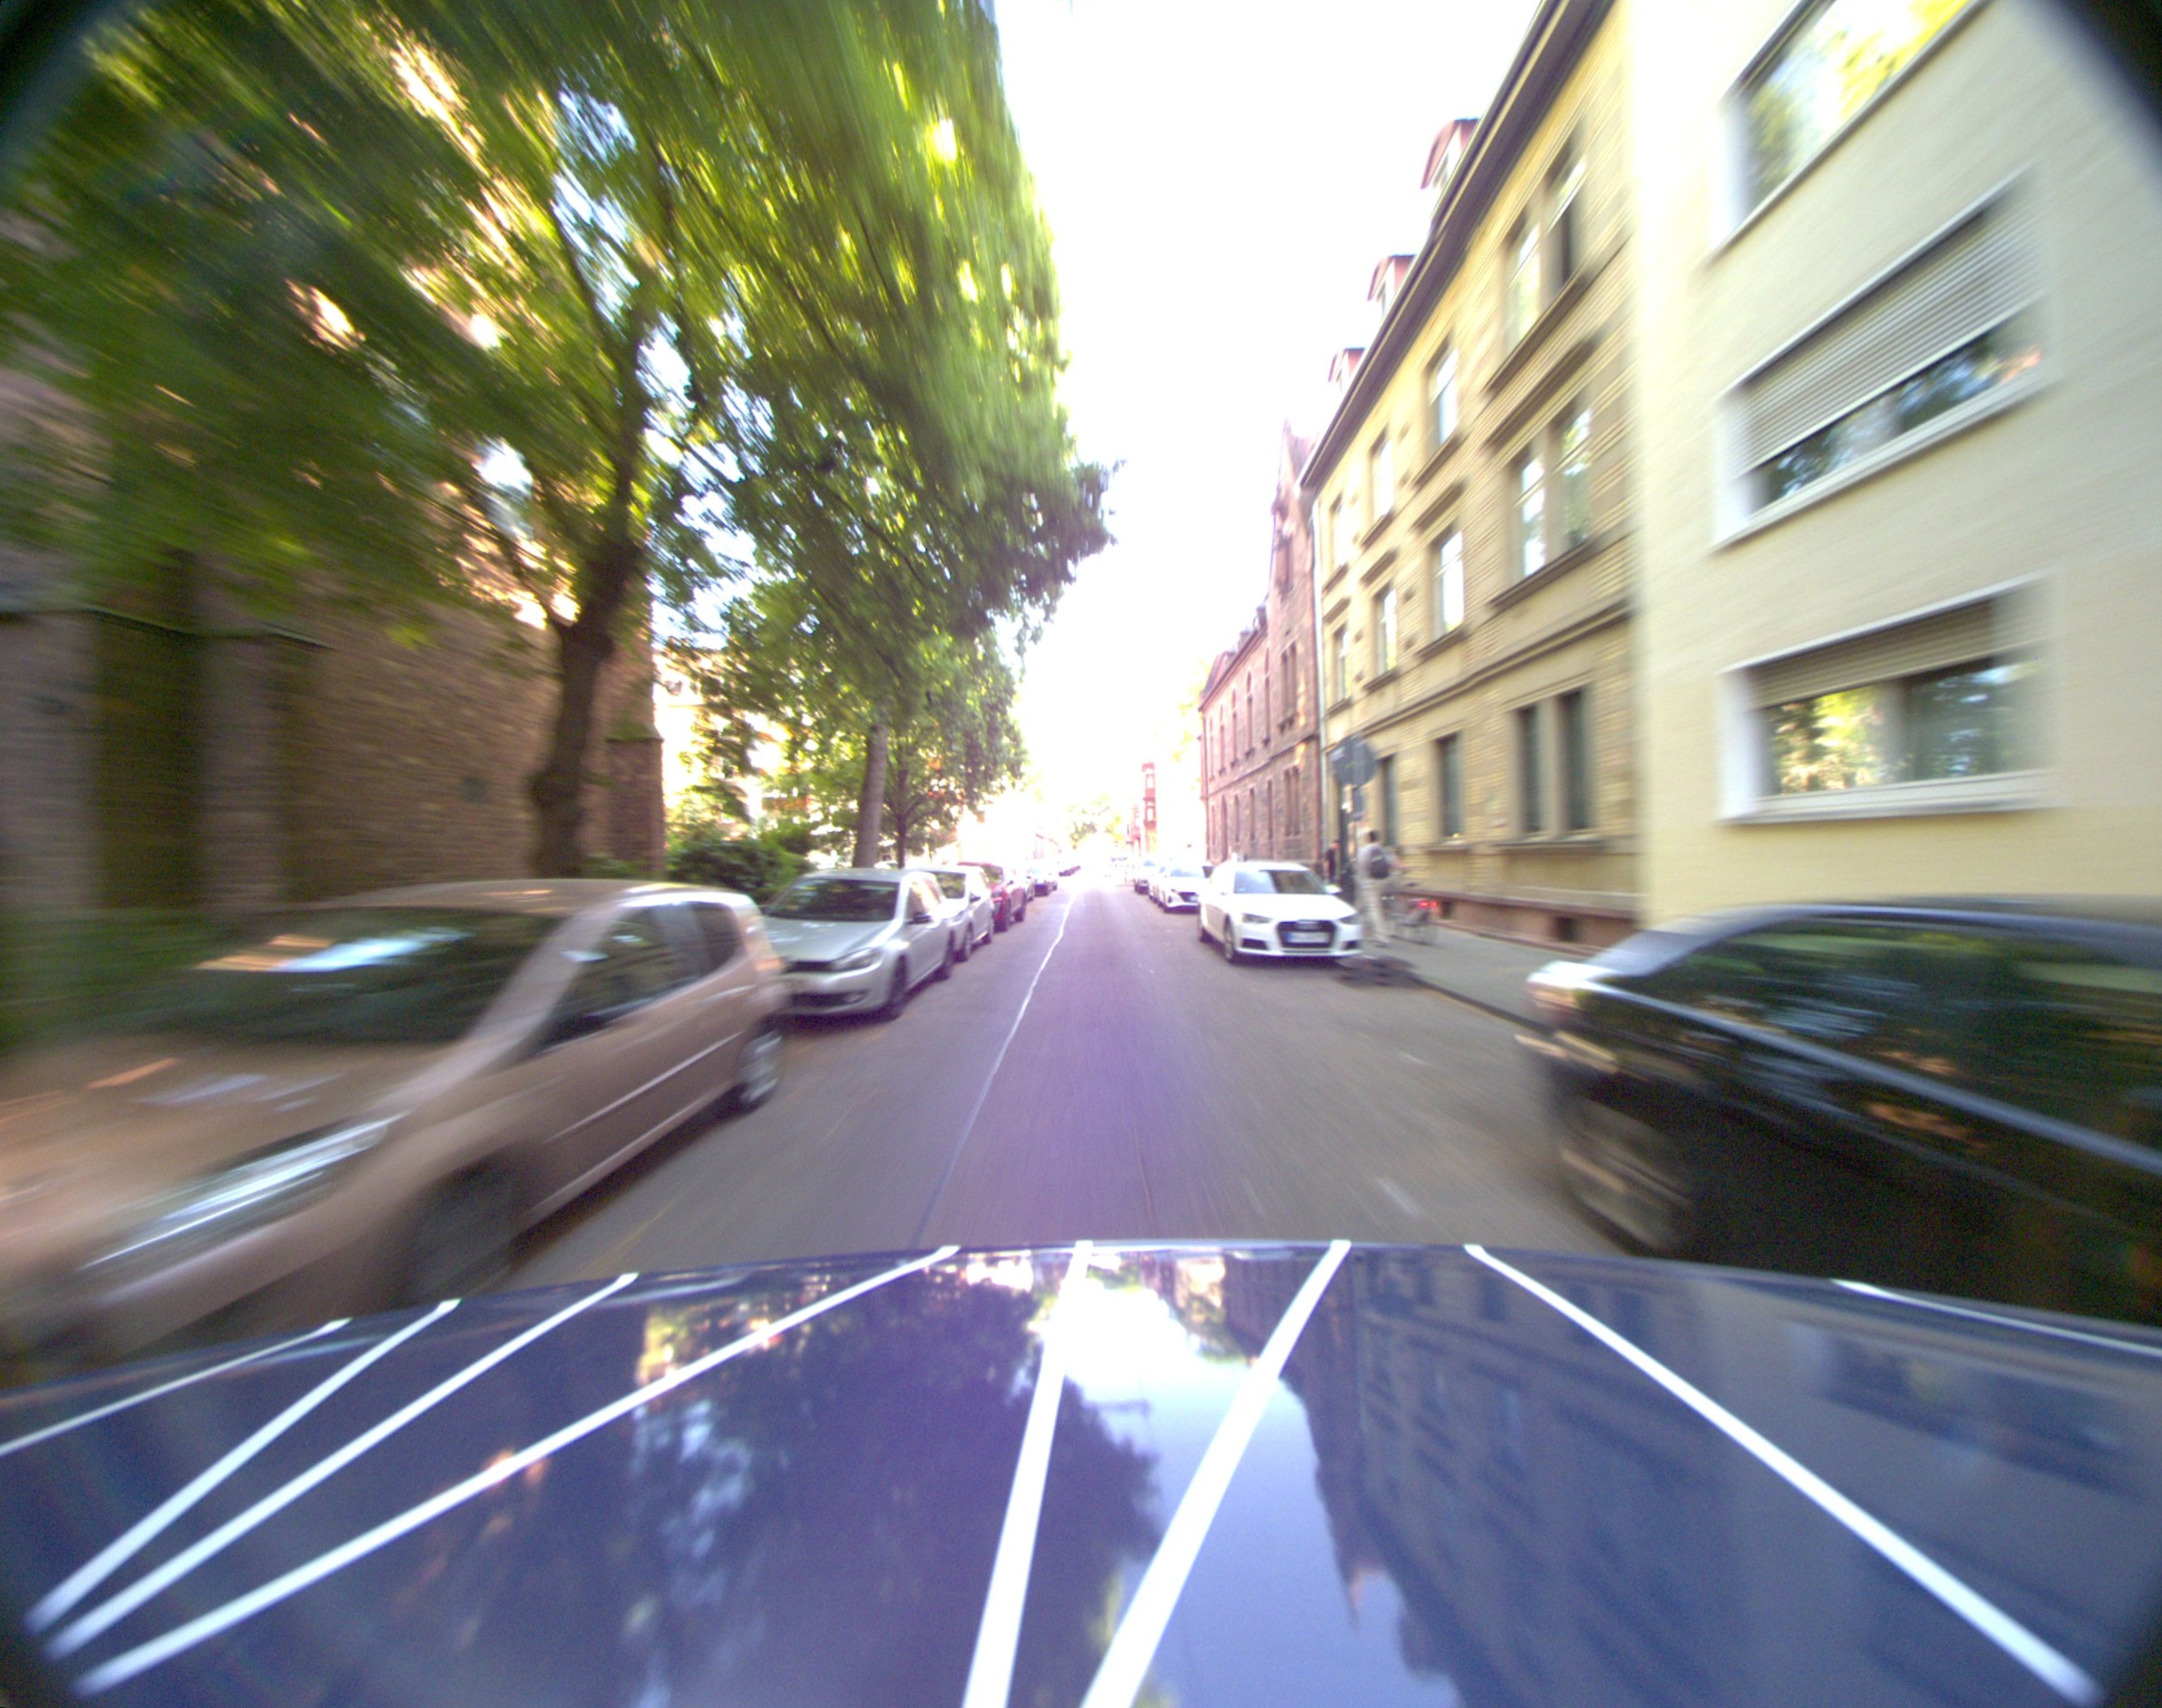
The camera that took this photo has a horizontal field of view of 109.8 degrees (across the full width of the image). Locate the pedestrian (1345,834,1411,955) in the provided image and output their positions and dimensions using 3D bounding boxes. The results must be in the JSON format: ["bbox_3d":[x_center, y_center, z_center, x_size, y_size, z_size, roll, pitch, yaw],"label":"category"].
[{"bbox_3d":[4.677,0.609,12.038,0.489,1.793,1.115,-4,1,0],"label":"pedestrian"}]

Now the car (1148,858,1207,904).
[{"bbox_3d":[3.354,0.902,27.009,1.713,1.409,3.803,0,1,2],"label":"car"}]

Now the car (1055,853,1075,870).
[{"bbox_3d":[-1.702,0.764,79.468,1.999,1.659,3.999,-2,0,-3],"label":"car"}]

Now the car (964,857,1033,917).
[{"bbox_3d":[-2.426,0.936,23.249,1.668,1.511,3.950,3,1,-1],"label":"car"}]

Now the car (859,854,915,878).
[{"bbox_3d":[-14.692,0.894,57.647,3.695,1.550,1.649,-2,3,0],"label":"car"}]

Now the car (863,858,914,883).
[{"bbox_3d":[-12.507,1.043,49.226,1.785,1.423,4.404,-3,2,-34],"label":"car"}]

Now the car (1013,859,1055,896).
[{"bbox_3d":[-2.023,1.005,33.852,1.625,1.428,4.002,0,1,0],"label":"car"}]

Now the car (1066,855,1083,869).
[{"bbox_3d":[-0.844,1.038,100.155,1.998,1.659,4.001,-2,0,3],"label":"car"}]

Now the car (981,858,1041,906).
[{"bbox_3d":[-2.520,0.973,28.340,1.668,1.511,4.060,3,1,2],"label":"car"}]

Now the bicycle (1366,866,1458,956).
[{"bbox_3d":[5.205,0.850,12.062,0.572,1.236,1.844,-5,0,0],"label":"bicycle"}]

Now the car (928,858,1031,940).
[{"bbox_3d":[-2.300,0.972,18.235,1.668,1.577,4.100,3,1,3],"label":"car"}]

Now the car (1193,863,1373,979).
[{"bbox_3d":[2.966,0.895,12.163,1.735,1.447,4.521,0,0,1],"label":"car"}]

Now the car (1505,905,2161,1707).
[{"bbox_3d":[2.782,0.948,1.399,1.735,1.394,4.316,0,0,3],"label":"car"}]

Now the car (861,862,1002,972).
[{"bbox_3d":[-2.474,0.985,13.444,1.603,1.496,3.720,3,1,2],"label":"car"}]

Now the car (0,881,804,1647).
[{"bbox_3d":[-2.794,0.979,3.479,1.603,1.459,3.563,3,1,1],"label":"car"}]

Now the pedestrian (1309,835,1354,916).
[{"bbox_3d":[6.116,0.512,18.566,0.768,1.917,0.763,-2,1,-3],"label":"pedestrian"}]

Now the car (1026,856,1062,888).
[{"bbox_3d":[-1.868,0.918,39.465,1.713,1.511,3.831,0,1,0],"label":"car"}]

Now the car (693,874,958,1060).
[{"bbox_3d":[-2.573,1.050,8.634,1.603,1.462,3.869,1,1,2],"label":"car"}]

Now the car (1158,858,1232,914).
[{"bbox_3d":[3.240,0.867,22.271,1.713,1.409,3.803,0,1,2],"label":"car"}]

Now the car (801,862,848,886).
[{"bbox_3d":[-17.034,1.293,50.337,1.785,1.423,4.404,-3,2,-34],"label":"car"}]

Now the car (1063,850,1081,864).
[{"bbox_3d":[-1.143,0.341,94.871,1.998,1.659,4.001,-2,0,3],"label":"car"}]

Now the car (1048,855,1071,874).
[{"bbox_3d":[-1.868,0.923,67.945,1.845,1.643,4.000,0,0,1],"label":"car"}]

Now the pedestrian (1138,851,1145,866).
[{"bbox_3d":[6.671,0.527,83.821,0.670,1.585,0.597,-2,0,-2],"label":"pedestrian"}]

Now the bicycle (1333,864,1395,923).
[{"bbox_3d":[6.077,0.822,16.414,0.572,1.141,1.844,-5,0,0],"label":"bicycle"}]

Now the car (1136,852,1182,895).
[{"bbox_3d":[3.327,0.779,33.026,1.713,1.664,4.278,0,1,2],"label":"car"}]

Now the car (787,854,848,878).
[{"bbox_3d":[-20.032,0.890,57.833,4.036,1.608,1.649,-2,3,0],"label":"car"}]

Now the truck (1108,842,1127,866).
[{"bbox_3d":[4.191,0.041,87.479,1.971,2.643,5.885,0,0,1],"label":"truck"}]
